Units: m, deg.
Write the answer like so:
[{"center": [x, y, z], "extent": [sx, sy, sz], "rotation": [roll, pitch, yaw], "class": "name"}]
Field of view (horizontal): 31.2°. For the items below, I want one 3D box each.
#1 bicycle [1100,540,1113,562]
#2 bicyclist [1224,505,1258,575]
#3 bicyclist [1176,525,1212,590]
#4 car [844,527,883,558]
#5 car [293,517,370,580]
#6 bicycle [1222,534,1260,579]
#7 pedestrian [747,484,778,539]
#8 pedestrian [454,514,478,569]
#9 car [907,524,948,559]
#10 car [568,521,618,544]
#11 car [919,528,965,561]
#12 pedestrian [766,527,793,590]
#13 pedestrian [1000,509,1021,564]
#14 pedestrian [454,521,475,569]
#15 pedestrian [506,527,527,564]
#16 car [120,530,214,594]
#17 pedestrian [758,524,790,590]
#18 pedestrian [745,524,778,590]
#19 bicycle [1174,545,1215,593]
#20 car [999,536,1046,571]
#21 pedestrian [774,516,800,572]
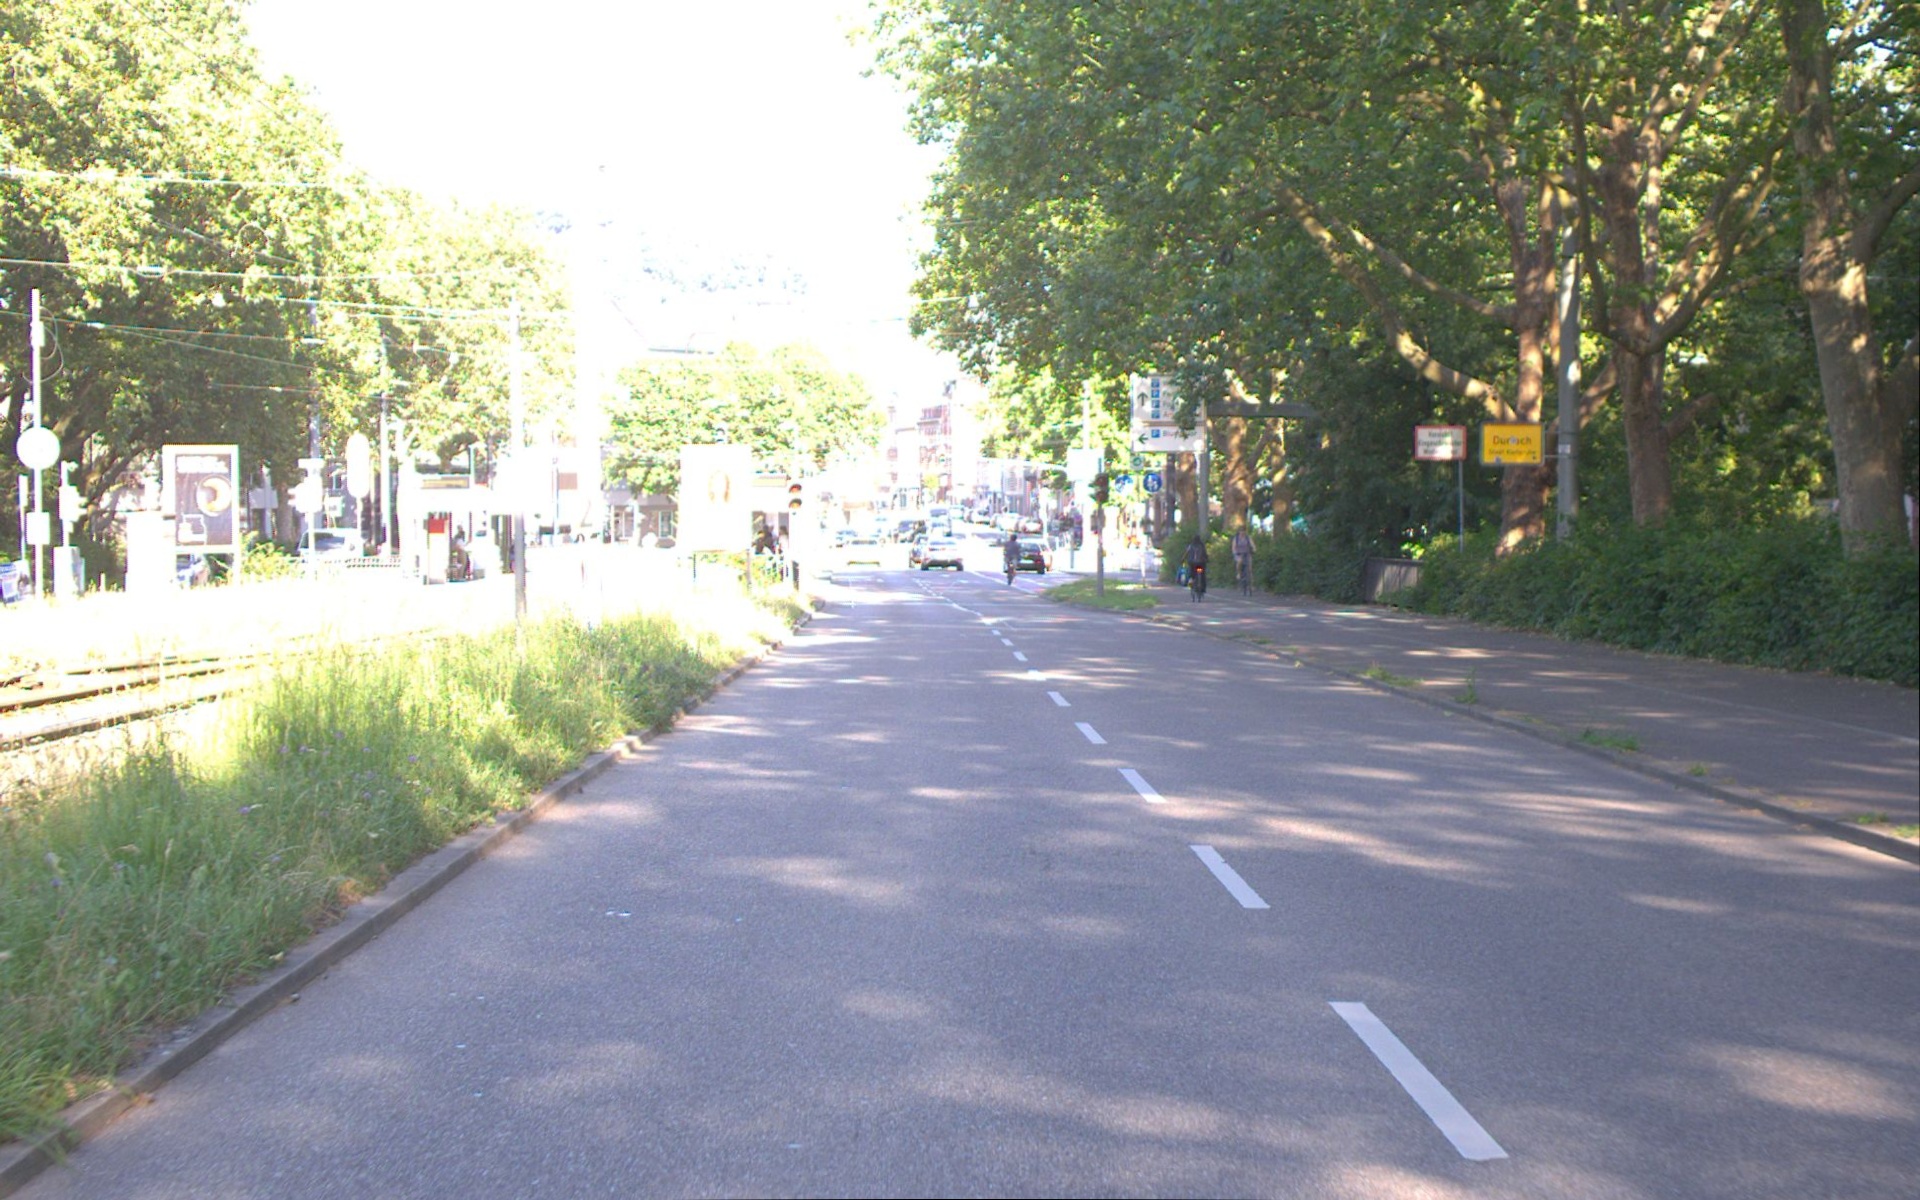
[{"center": [7.133, -2.394, 167.374], "extent": [0.498, 1.071, 1.800], "rotation": [1, 0, -2], "class": "bicycle"}, {"center": [6.984, -1.503, 85.519], "extent": [0.699, 1.722, 1.080], "rotation": [0, 1, -3], "class": "bicyclist"}, {"center": [5.450, -0.998, 80.039], "extent": [0.766, 1.507, 0.650], "rotation": [0, 1, -2], "class": "bicyclist"}, {"center": [-4.671, -2.768, 165.728], "extent": [1.808, 1.447, 4.001], "rotation": [1, 1, -3], "class": "car"}, {"center": [-22.349, -1.829, 122.389], "extent": [2.067, 2.117, 5.091], "rotation": [-2, 1, -4], "class": "car"}, {"center": [6.982, -1.078, 85.525], "extent": [0.699, 1.104, 1.930], "rotation": [0, 1, -3], "class": "bicycle"}, {"center": [-6.297, -2.820, 109.483], "extent": [0.651, 1.716, 0.710], "rotation": [1, 1, -37], "class": "pedestrian"}, {"center": [-16.218, -1.922, 112.832], "extent": [0.648, 1.766, 0.650], "rotation": [1, 0, 1], "class": "pedestrian"}, {"center": [-1.555, -2.795, 164.097], "extent": [1.800, 1.632, 4.046], "rotation": [0, 1, -3], "class": "car"}, {"center": [-25.951, -4.772, 243.159], "extent": [1.923, 1.643, 4.177], "rotation": [0, 1, 19], "class": "car"}, {"center": [-0.832, -2.536, 156.667], "extent": [1.929, 1.467, 4.855], "rotation": [0, 1, -2], "class": "car"}, {"center": [-4.366, -1.004, 83.148], "extent": [0.589, 1.514, 0.514], "rotation": [-2, 1, -1], "class": "pedestrian"}, {"center": [1.729, -2.185, 117.731], "extent": [0.657, 1.864, 0.678], "rotation": [0, 1, -2], "class": "pedestrian"}, {"center": [-16.175, -1.802, 112.218], "extent": [0.592, 1.538, 0.627], "rotation": [1, 0, -1], "class": "pedestrian"}, {"center": [-16.588, -2.038, 128.673], "extent": [0.669, 1.320, 0.757], "rotation": [-3, 1, -4], "class": "pedestrian"}, {"center": [-21.449, -1.029, 93.147], "extent": [1.902, 1.646, 3.974], "rotation": [-2, 1, -5], "class": "car"}, {"center": [-4.473, -1.027, 82.507], "extent": [0.520, 1.563, 0.507], "rotation": [-2, 1, 28], "class": "pedestrian"}, {"center": [-4.740, -1.029, 82.094], "extent": [0.520, 1.563, 0.507], "rotation": [-2, 1, 28], "class": "pedestrian"}, {"center": [5.456, -0.729, 80.040], "extent": [0.766, 1.104, 1.800], "rotation": [0, 1, -2], "class": "bicycle"}, {"center": [2.749, -2.068, 151.847], "extent": [1.800, 1.434, 4.046], "rotation": [1, 1, -2], "class": "car"}, {"center": [-5.330, -1.728, 105.890], "extent": [0.742, 1.688, 0.791], "rotation": [1, 1, -1], "class": "pedestrian"}]
